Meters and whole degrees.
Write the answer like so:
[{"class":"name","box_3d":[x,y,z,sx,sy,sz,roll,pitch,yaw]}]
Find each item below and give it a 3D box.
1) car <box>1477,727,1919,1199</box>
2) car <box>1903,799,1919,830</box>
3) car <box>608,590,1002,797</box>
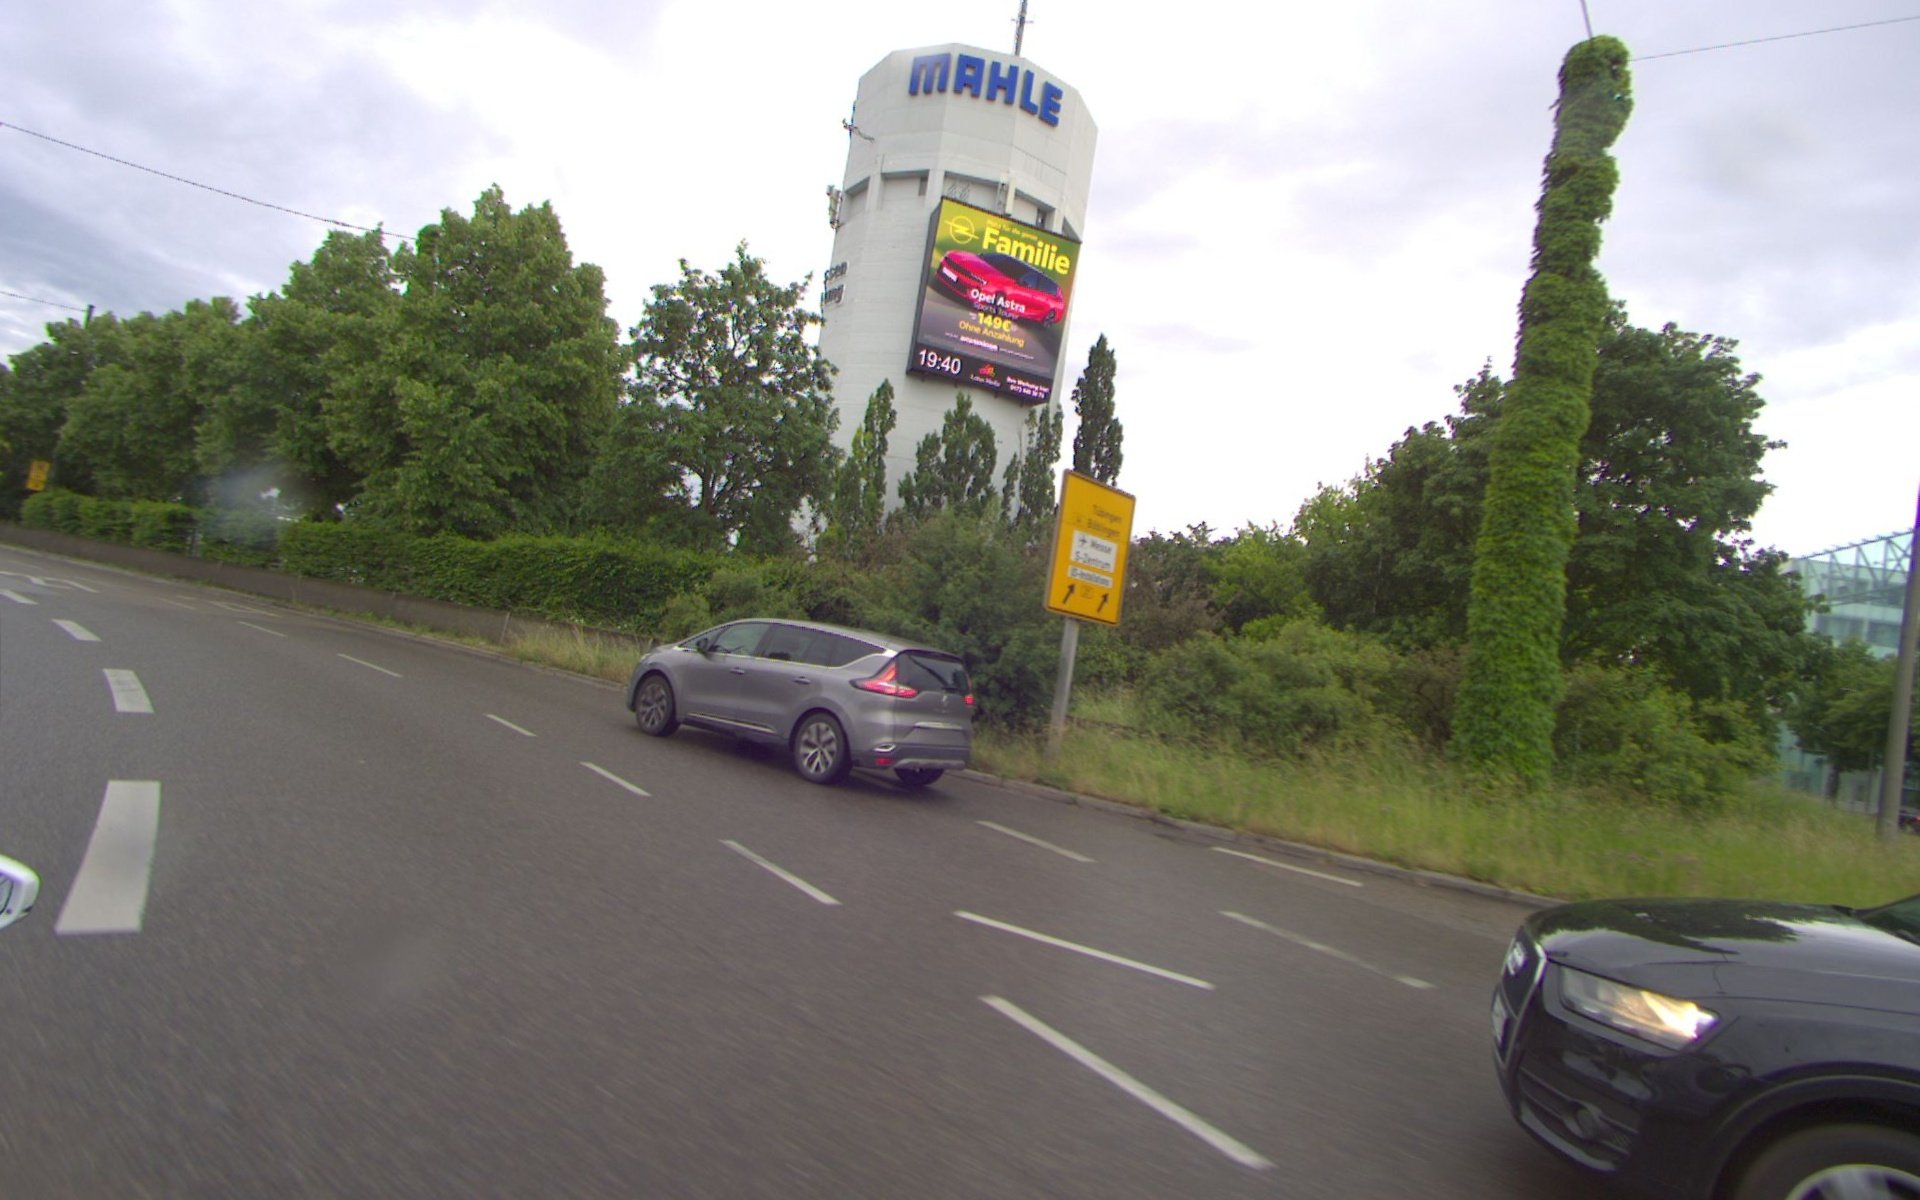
[{"class":"car","box_3d":[3.883,1.482,2.865,4.053,1.551,1.732,7,-2,25]},{"class":"car","box_3d":[53.931,12.047,55.611,1.817,1.582,4.164,7,-4,34]},{"class":"car","box_3d":[-1.959,1.024,11.878,4.555,1.665,1.729,6,-5,37]}]
